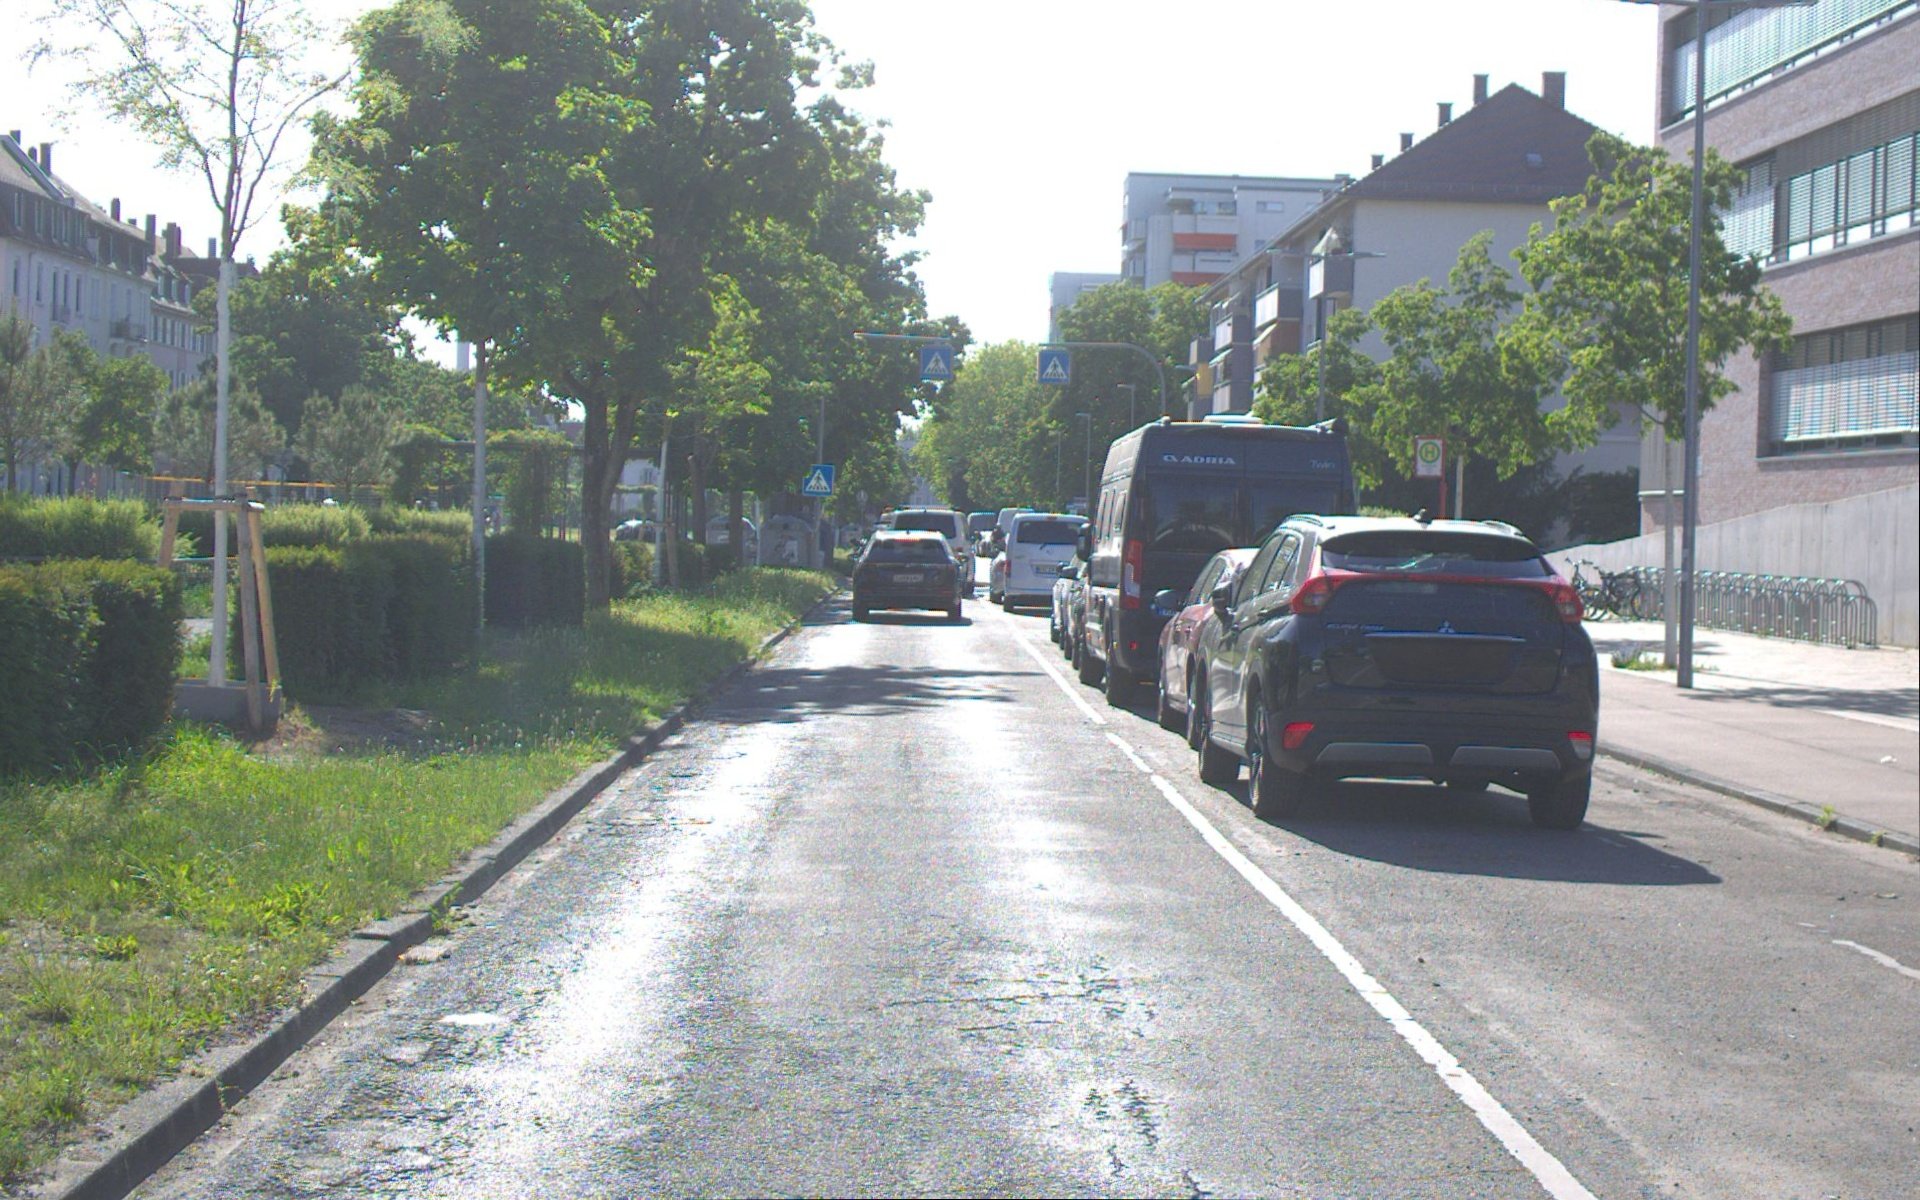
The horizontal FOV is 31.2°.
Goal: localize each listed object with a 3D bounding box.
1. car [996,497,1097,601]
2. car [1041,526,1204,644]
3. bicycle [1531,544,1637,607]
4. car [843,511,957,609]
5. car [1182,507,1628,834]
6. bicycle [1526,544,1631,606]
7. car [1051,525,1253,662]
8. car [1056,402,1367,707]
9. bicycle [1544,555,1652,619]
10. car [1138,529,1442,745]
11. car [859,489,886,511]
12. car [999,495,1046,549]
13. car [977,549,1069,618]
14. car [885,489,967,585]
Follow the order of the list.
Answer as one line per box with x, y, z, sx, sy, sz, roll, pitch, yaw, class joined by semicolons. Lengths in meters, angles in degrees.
1.651;-0.996;65.630;1.794;1.848;4.413;2;2;1;car
2.104;-0.240;45.572;1.794;1.415;4.658;2;1;-1;car
11.150;-0.440;61.422;1.794;1.104;0.500;0;1;-3;bicycle
-0.980;-0.696;57.364;1.794;1.505;4.000;2;1;0;car
2.444;0.314;20.002;1.846;1.634;4.504;2;1;-2;car
11.141;-0.453;61.975;1.794;1.104;0.500;0;1;-3;bicycle
2.139;-0.123;39.488;1.993;1.415;4.636;2;1;0;car
2.213;-0.457;32.251;2.115;2.507;6.533;2;1;-2;car
11.178;-0.231;60.245;1.794;1.104;0.500;0;1;-3;bicycle
2.419;0.220;26.103;1.794;1.450;3.950;2;1;-1;car
-6.261;-7.142;246.652;1.794;1.505;4.000;1;1;0;car
2.968;-3.736;163.974;1.993;2.422;4.500;4;1;0;car
1.287;-0.357;72.021;1.764;1.314;4.168;3;1;0;car
-0.793;-1.479;80.401;1.794;2.115;4.000;2;1;0;car
